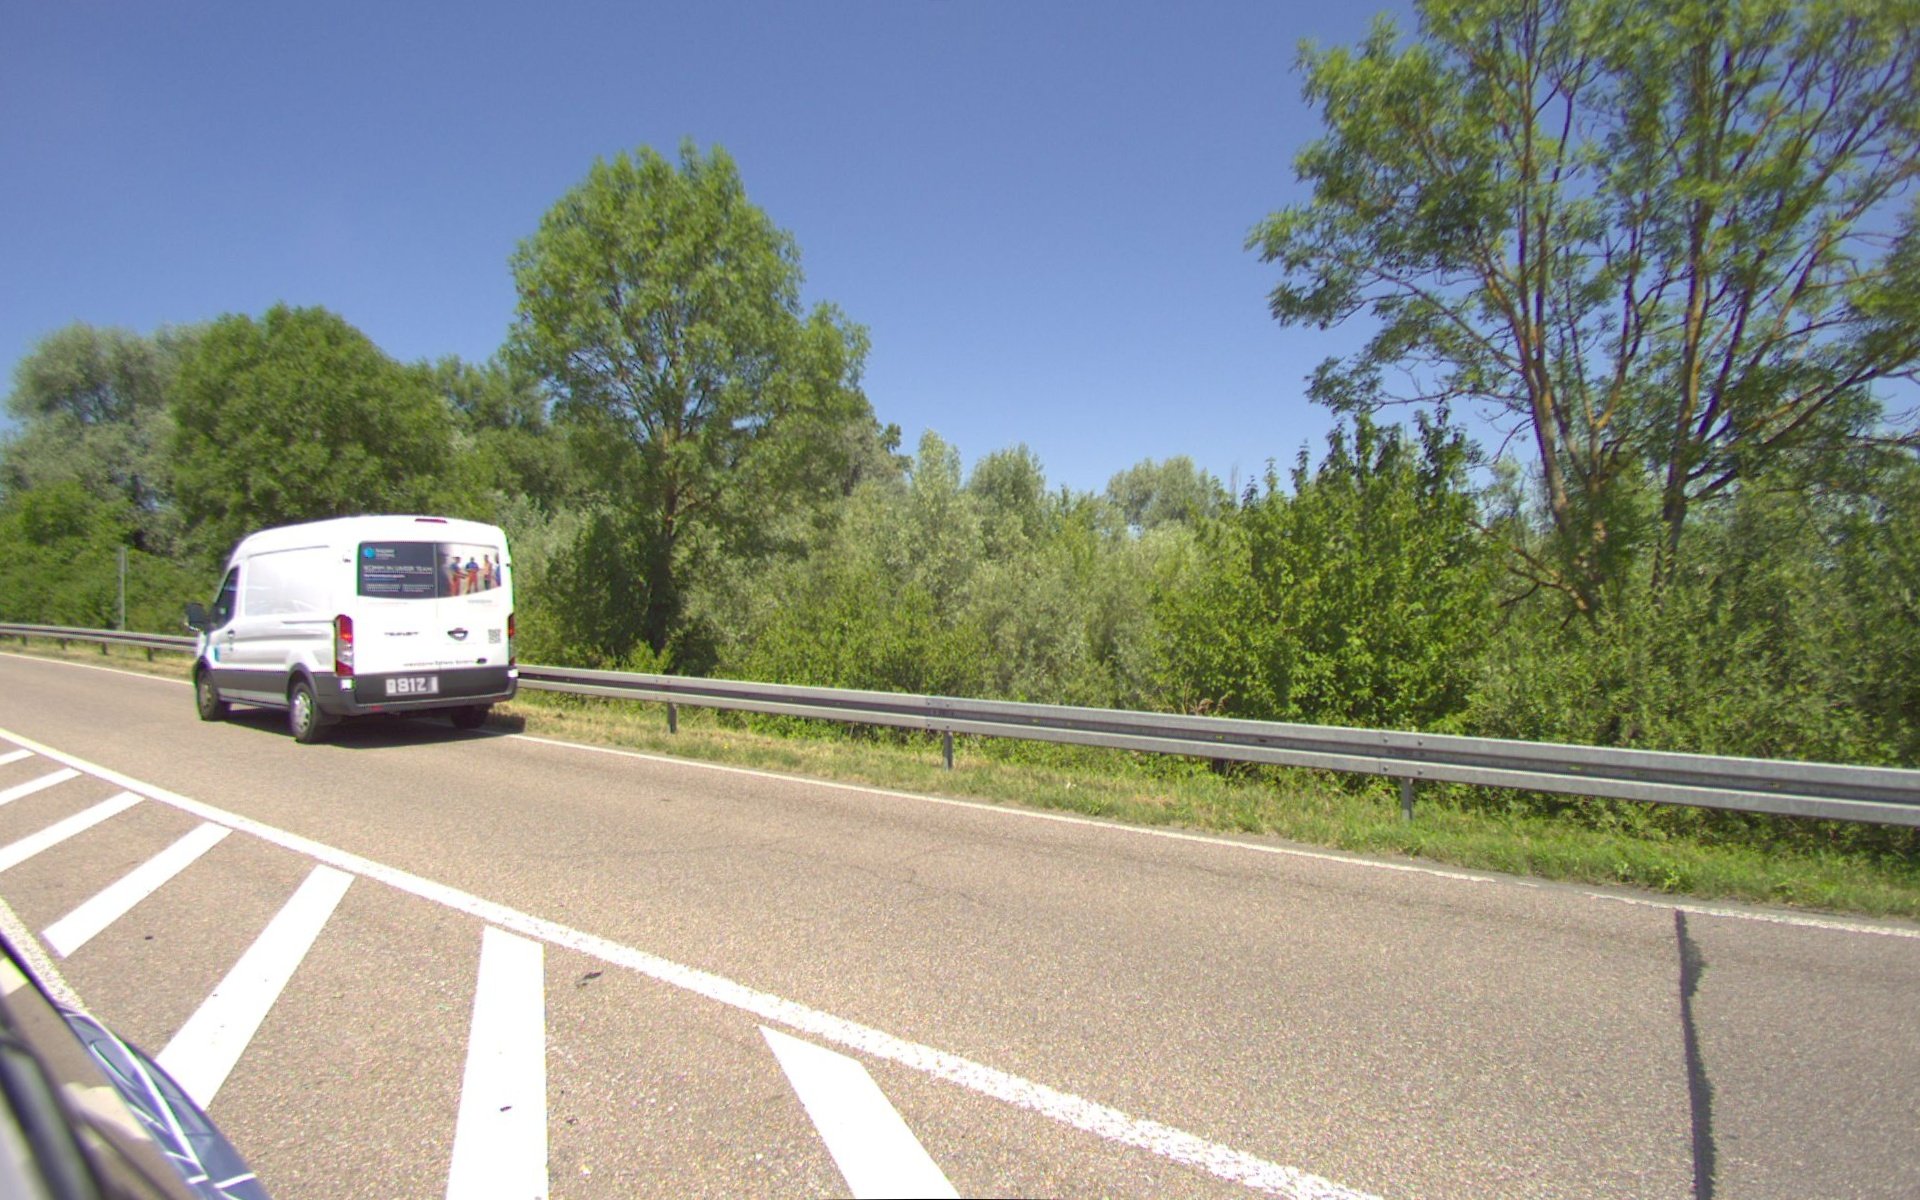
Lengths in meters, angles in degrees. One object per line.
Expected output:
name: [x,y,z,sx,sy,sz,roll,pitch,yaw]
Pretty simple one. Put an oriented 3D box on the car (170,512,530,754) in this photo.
car: [-7.804,0.356,12.680,5.581,2.435,1.975,0,-1,38]
